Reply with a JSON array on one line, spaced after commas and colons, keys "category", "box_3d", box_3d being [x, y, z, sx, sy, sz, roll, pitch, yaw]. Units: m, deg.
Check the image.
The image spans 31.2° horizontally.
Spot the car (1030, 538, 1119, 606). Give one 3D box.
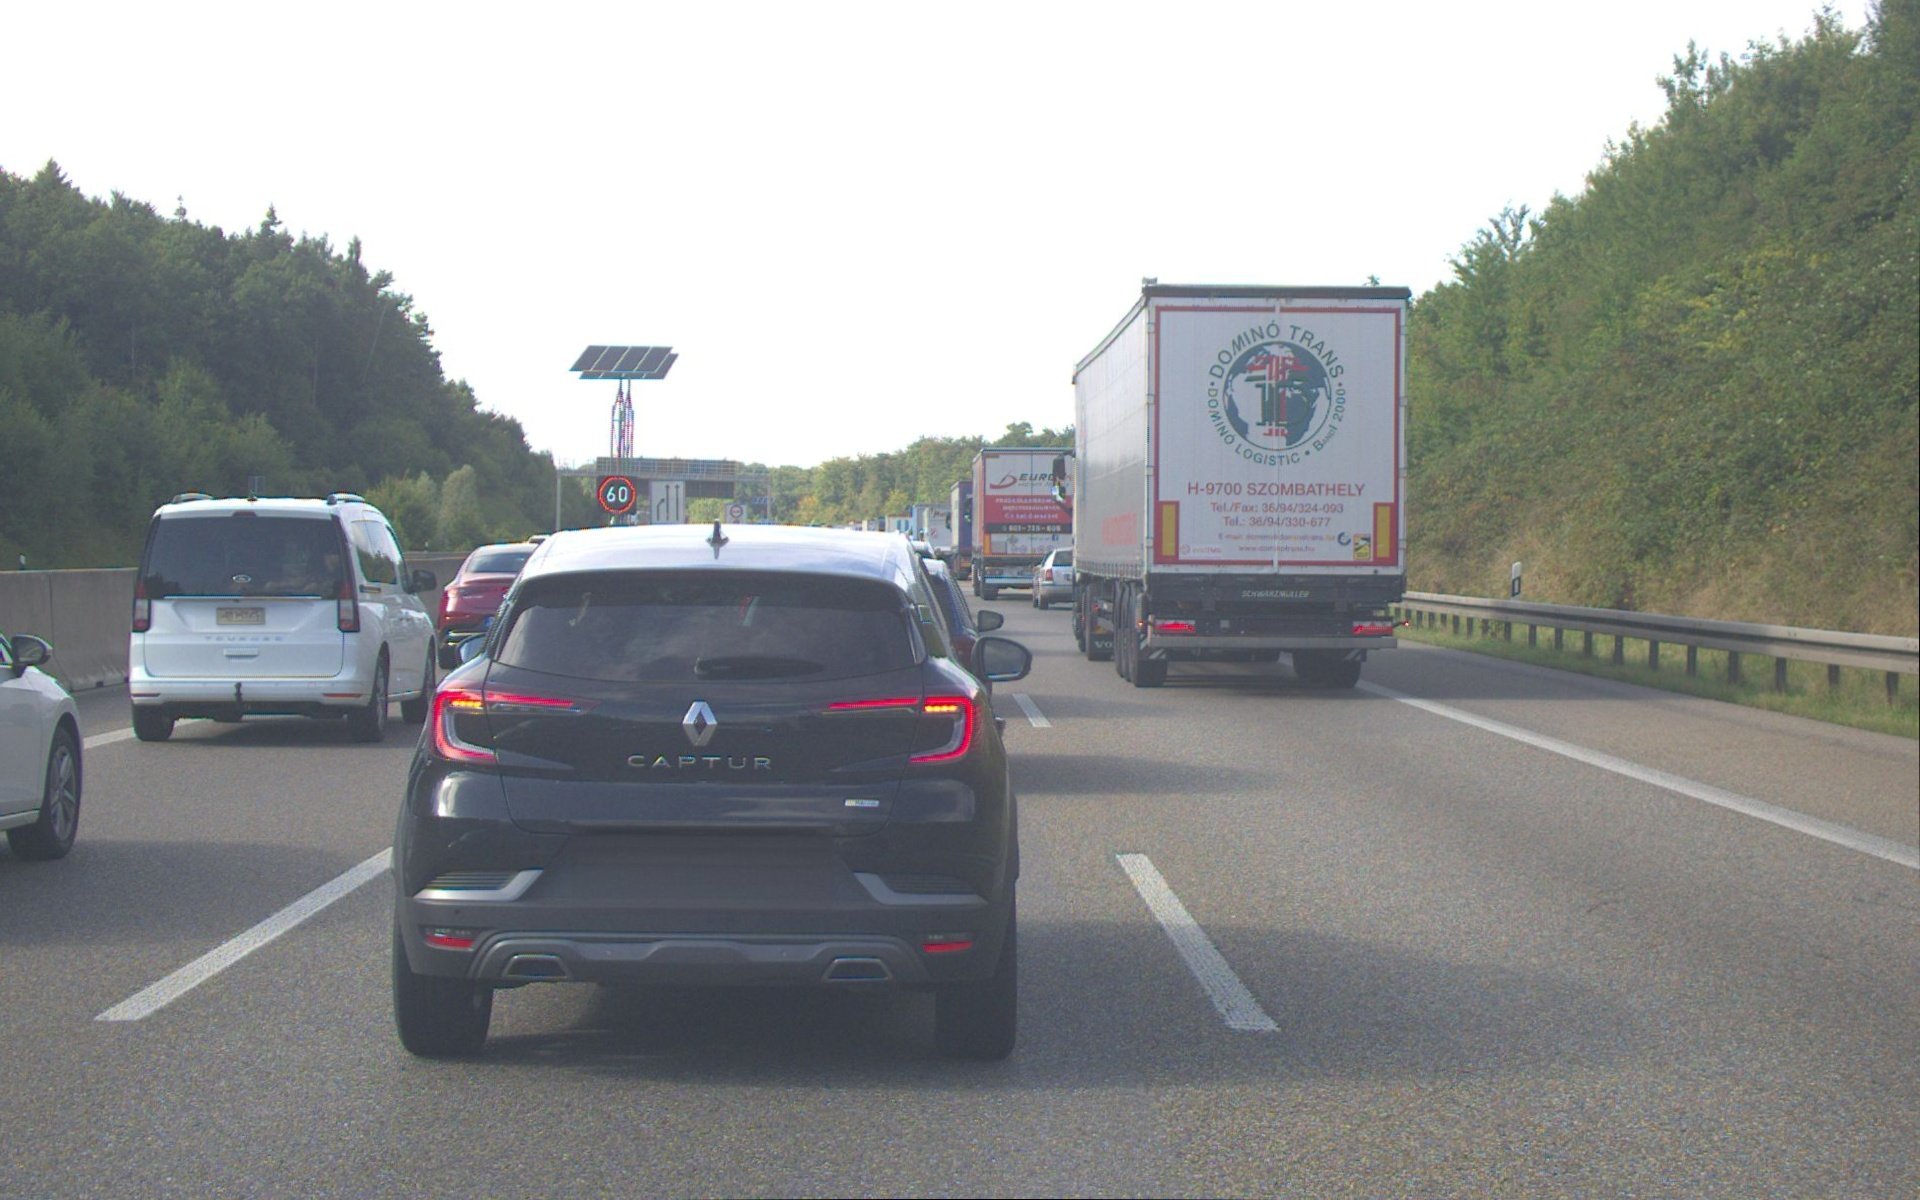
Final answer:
[{"category": "car", "box_3d": [2.629, -0.653, 79.666, 1.804, 1.527, 3.926, 1, 1, -1]}]

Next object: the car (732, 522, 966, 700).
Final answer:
[{"category": "car", "box_3d": [-0.955, 0.078, 31.595, 1.993, 1.509, 4.000, 1, 1, 0]}]

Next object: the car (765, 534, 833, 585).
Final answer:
[{"category": "car", "box_3d": [-5.221, -1.337, 111.768, 1.993, 1.607, 4.000, 1, 1, 0]}]

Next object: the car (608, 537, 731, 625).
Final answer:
[{"category": "car", "box_3d": [-5.539, -0.372, 65.971, 1.993, 1.607, 4.000, 1, 1, 0]}]

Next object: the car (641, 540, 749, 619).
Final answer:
[{"category": "car", "box_3d": [-5.636, -0.447, 73.506, 1.993, 1.607, 4.000, 1, 1, 0]}]

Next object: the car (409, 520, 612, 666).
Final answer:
[{"category": "car", "box_3d": [-5.316, -0.103, 41.062, 1.855, 1.635, 3.925, 1, 1, 1]}]

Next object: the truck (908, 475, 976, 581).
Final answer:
[{"category": "truck", "box_3d": [-0.922, -3.815, 186.145, 3.167, 5.486, 12.737, 1, 1, 2]}]

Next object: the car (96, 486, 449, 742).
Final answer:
[{"category": "car", "box_3d": [-5.187, 0.076, 26.495, 1.911, 1.783, 4.418, 1, 1, -1]}]

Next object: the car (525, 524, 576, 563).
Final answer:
[{"category": "car", "box_3d": [-19.214, -2.662, 161.554, 1.852, 1.803, 4.925, 1, 1, -1]}]

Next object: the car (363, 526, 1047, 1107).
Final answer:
[{"category": "car", "box_3d": [-0.636, 0.549, 11.215, 1.805, 1.547, 4.000, 0, 1, 2]}]

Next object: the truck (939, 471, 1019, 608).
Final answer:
[{"category": "truck", "box_3d": [0.807, -2.491, 145.028, 3.166, 5.486, 12.737, 1, 1, 0]}]

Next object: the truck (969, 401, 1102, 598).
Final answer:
[{"category": "truck", "box_3d": [1.970, -2.661, 95.076, 3.365, 5.027, 12.737, 1, 1, 0]}]

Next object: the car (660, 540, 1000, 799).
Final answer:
[{"category": "car", "box_3d": [-0.771, 0.392, 22.380, 1.993, 1.509, 4.000, 1, 1, 0]}]

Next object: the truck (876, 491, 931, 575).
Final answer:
[{"category": "truck", "box_3d": [-3.596, -4.233, 220.296, 3.166, 5.142, 12.737, 1, 1, 0]}]

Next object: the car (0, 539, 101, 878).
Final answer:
[{"category": "car", "box_3d": [-5.032, 0.467, 14.274, 1.804, 1.456, 4.308, 0, 1, 1]}]

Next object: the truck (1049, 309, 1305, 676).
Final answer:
[{"category": "truck", "box_3d": [2.846, -1.426, 46.795, 2.997, 4.651, 5.940, 0, 1, -1]}]

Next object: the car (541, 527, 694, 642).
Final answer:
[{"category": "car", "box_3d": [-5.365, -0.254, 54.235, 1.993, 1.716, 4.000, 1, 1, 0]}]

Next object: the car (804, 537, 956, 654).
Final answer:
[{"category": "car", "box_3d": [-1.059, -0.080, 47.441, 1.993, 1.509, 4.000, 1, 1, 0]}]

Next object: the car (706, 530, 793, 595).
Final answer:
[{"category": "car", "box_3d": [-5.403, -0.983, 88.720, 1.993, 1.607, 4.000, 1, 1, 0]}]

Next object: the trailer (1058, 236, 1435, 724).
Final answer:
[{"category": "trailer", "box_3d": [2.933, -1.280, 39.587, 3.002, 4.645, 13.291, 1, 1, -1]}]
